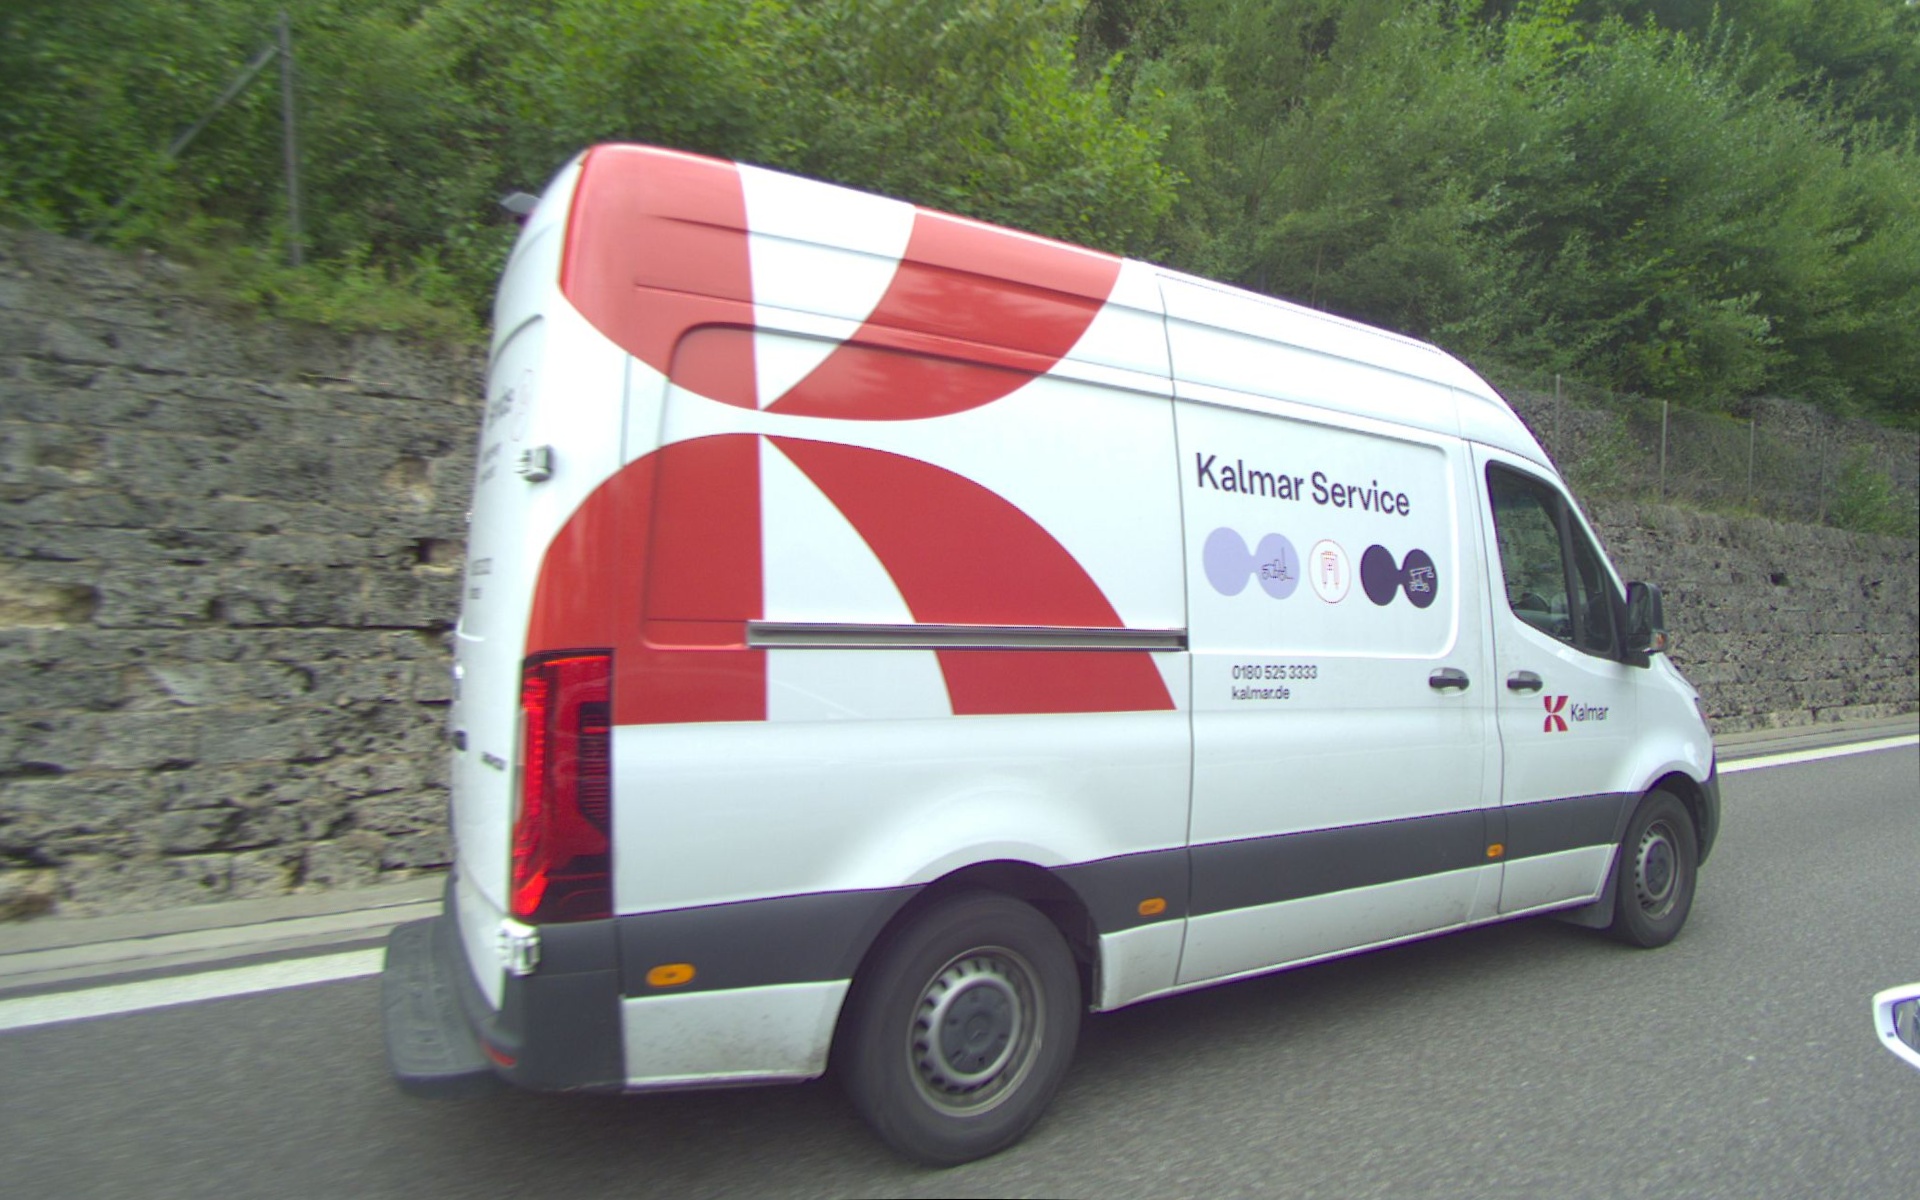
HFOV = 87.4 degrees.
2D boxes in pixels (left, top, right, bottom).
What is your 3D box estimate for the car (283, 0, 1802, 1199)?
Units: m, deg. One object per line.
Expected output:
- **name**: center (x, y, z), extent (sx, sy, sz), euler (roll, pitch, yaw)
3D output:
- **car**: center (0.985, 0.187, 4.248), extent (6.202, 2.619, 2.016), euler (2, -1, -31)
